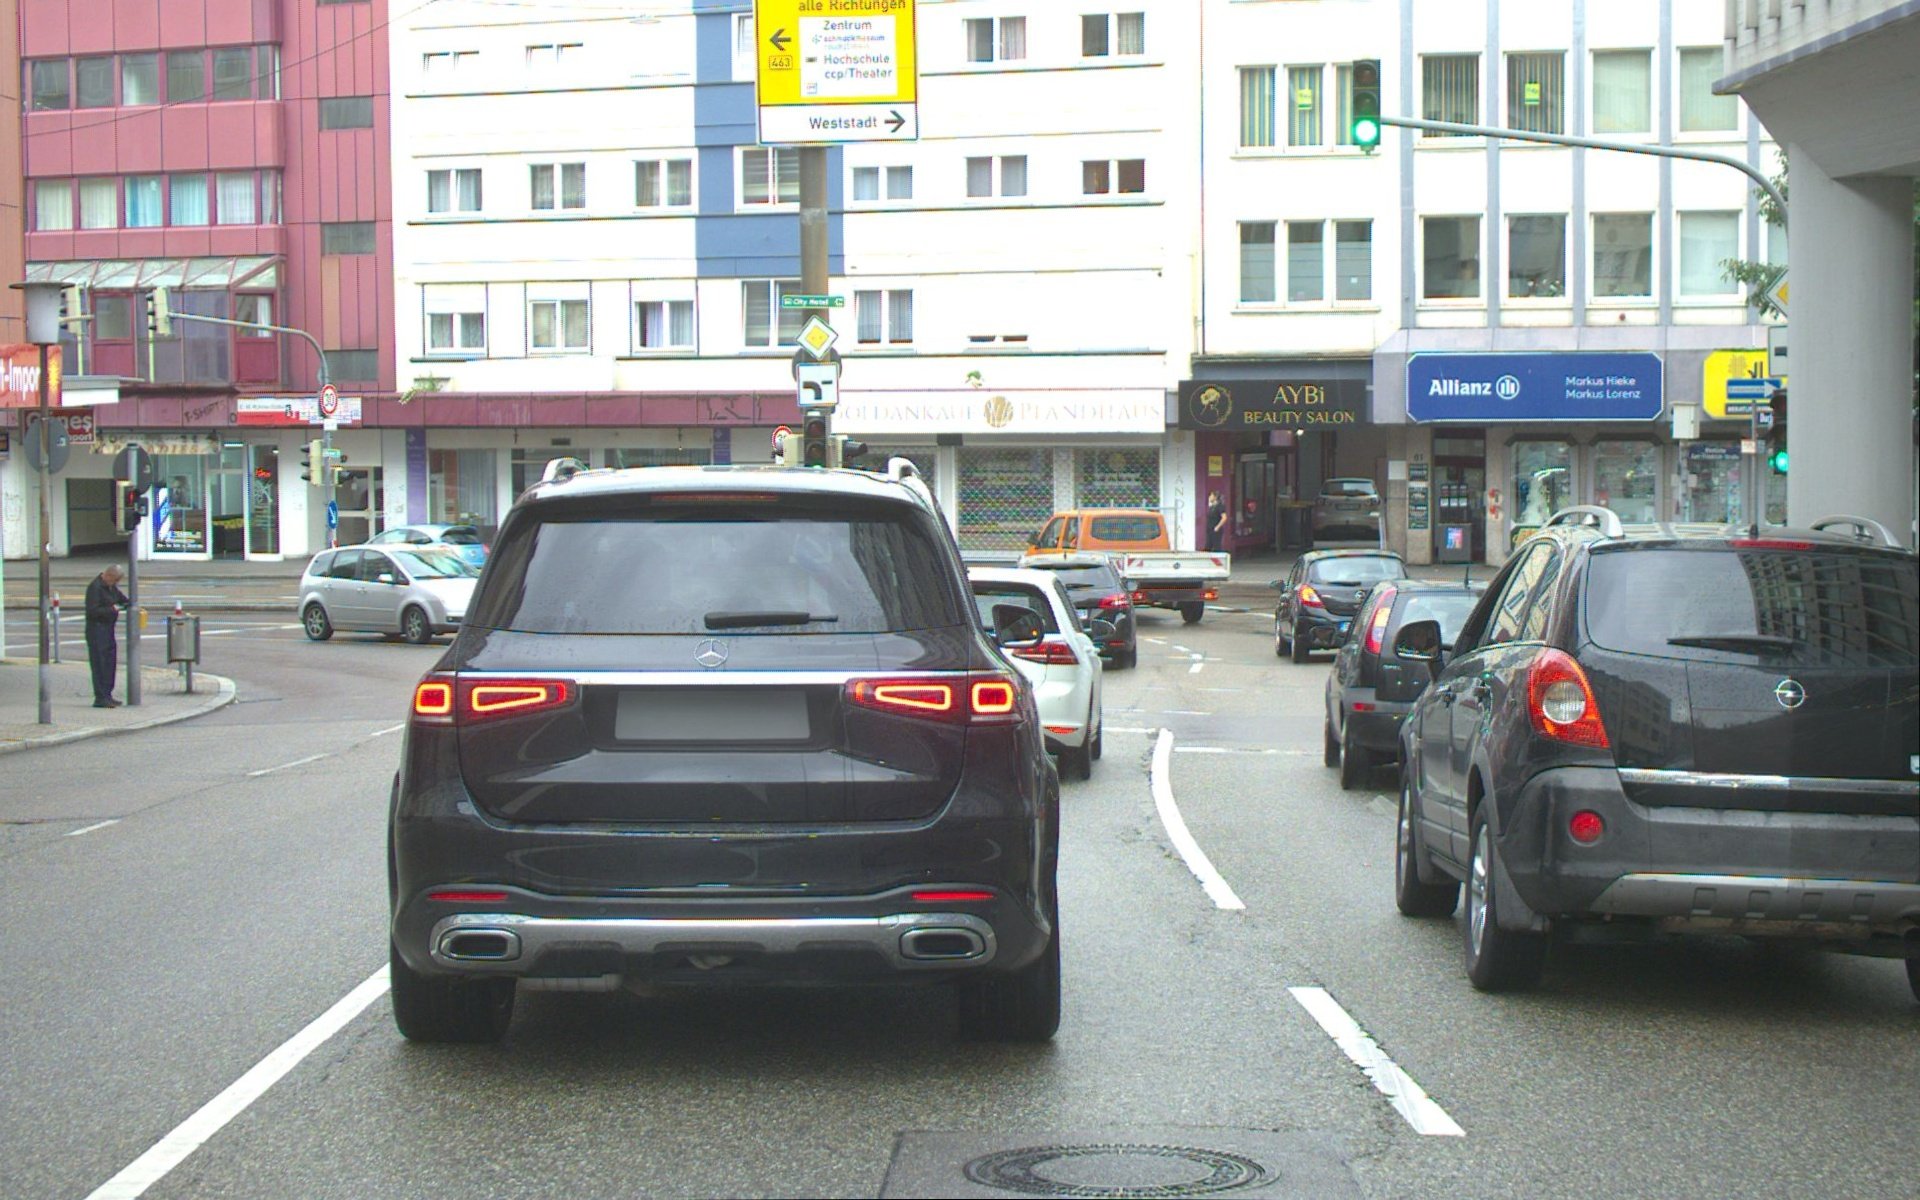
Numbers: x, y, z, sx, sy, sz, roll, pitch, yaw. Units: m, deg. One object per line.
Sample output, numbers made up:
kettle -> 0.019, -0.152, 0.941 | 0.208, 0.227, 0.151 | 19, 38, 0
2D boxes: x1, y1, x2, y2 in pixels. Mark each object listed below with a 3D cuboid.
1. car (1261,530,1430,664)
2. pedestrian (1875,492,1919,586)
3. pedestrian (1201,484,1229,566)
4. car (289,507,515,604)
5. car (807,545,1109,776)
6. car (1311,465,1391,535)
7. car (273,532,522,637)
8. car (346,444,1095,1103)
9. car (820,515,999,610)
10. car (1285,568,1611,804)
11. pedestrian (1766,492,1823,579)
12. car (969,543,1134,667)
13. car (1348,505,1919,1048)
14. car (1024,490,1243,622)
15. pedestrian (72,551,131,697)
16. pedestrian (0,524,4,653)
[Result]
car -> 5.081, -0.050, 45.760 | 1.823, 1.653, 4.495 | 1, 0, 2
pedestrian -> 18.850, -1.219, 68.657 | 1.030, 1.793, 0.830 | 0, 7, 9
pedestrian -> 5.473, -1.620, 73.794 | 0.564, 1.683, 0.756 | 0, 7, 6
car -> -11.636, -0.932, 71.655 | 4.167, 1.831, 1.998 | 3, 1, 23
car -> 0.078, 0.366, 25.037 | 1.873, 1.489, 4.400 | 1, 1, 4
car -> 9.721, -2.463, 85.329 | 1.798, 1.664, 3.999 | -1, 1, 9
car -> -9.223, -0.285, 56.251 | 4.172, 1.587, 1.737 | 1, 3, 41
car -> -0.732, 0.437, 11.820 | 2.038, 1.793, 4.663 | 1, 1, -2
car -> -0.925, -0.626, 59.250 | 1.924, 1.510, 4.664 | 2, 0, -16
car -> 3.354, 0.537, 24.289 | 1.767, 1.392, 4.000 | 3, 1, 2
pedestrian -> 16.961, -1.310, 69.895 | 1.030, 1.683, 0.830 | 0, 7, 9
car -> 1.131, 0.025, 44.458 | 1.993, 1.481, 4.237 | -1, 1, 0
car -> 2.727, 0.542, 13.349 | 1.897, 1.689, 4.505 | 3, 1, 1
car -> 3.041, -0.800, 61.668 | 2.242, 2.220, 5.430 | 1, 1, -16
pedestrian -> -10.064, 0.275, 40.320 | 0.554, 1.691, 0.624 | 0, 1, -4
pedestrian -> -14.185, -0.165, 49.268 | 0.760, 1.842, 0.844 | -1, 1, -27
